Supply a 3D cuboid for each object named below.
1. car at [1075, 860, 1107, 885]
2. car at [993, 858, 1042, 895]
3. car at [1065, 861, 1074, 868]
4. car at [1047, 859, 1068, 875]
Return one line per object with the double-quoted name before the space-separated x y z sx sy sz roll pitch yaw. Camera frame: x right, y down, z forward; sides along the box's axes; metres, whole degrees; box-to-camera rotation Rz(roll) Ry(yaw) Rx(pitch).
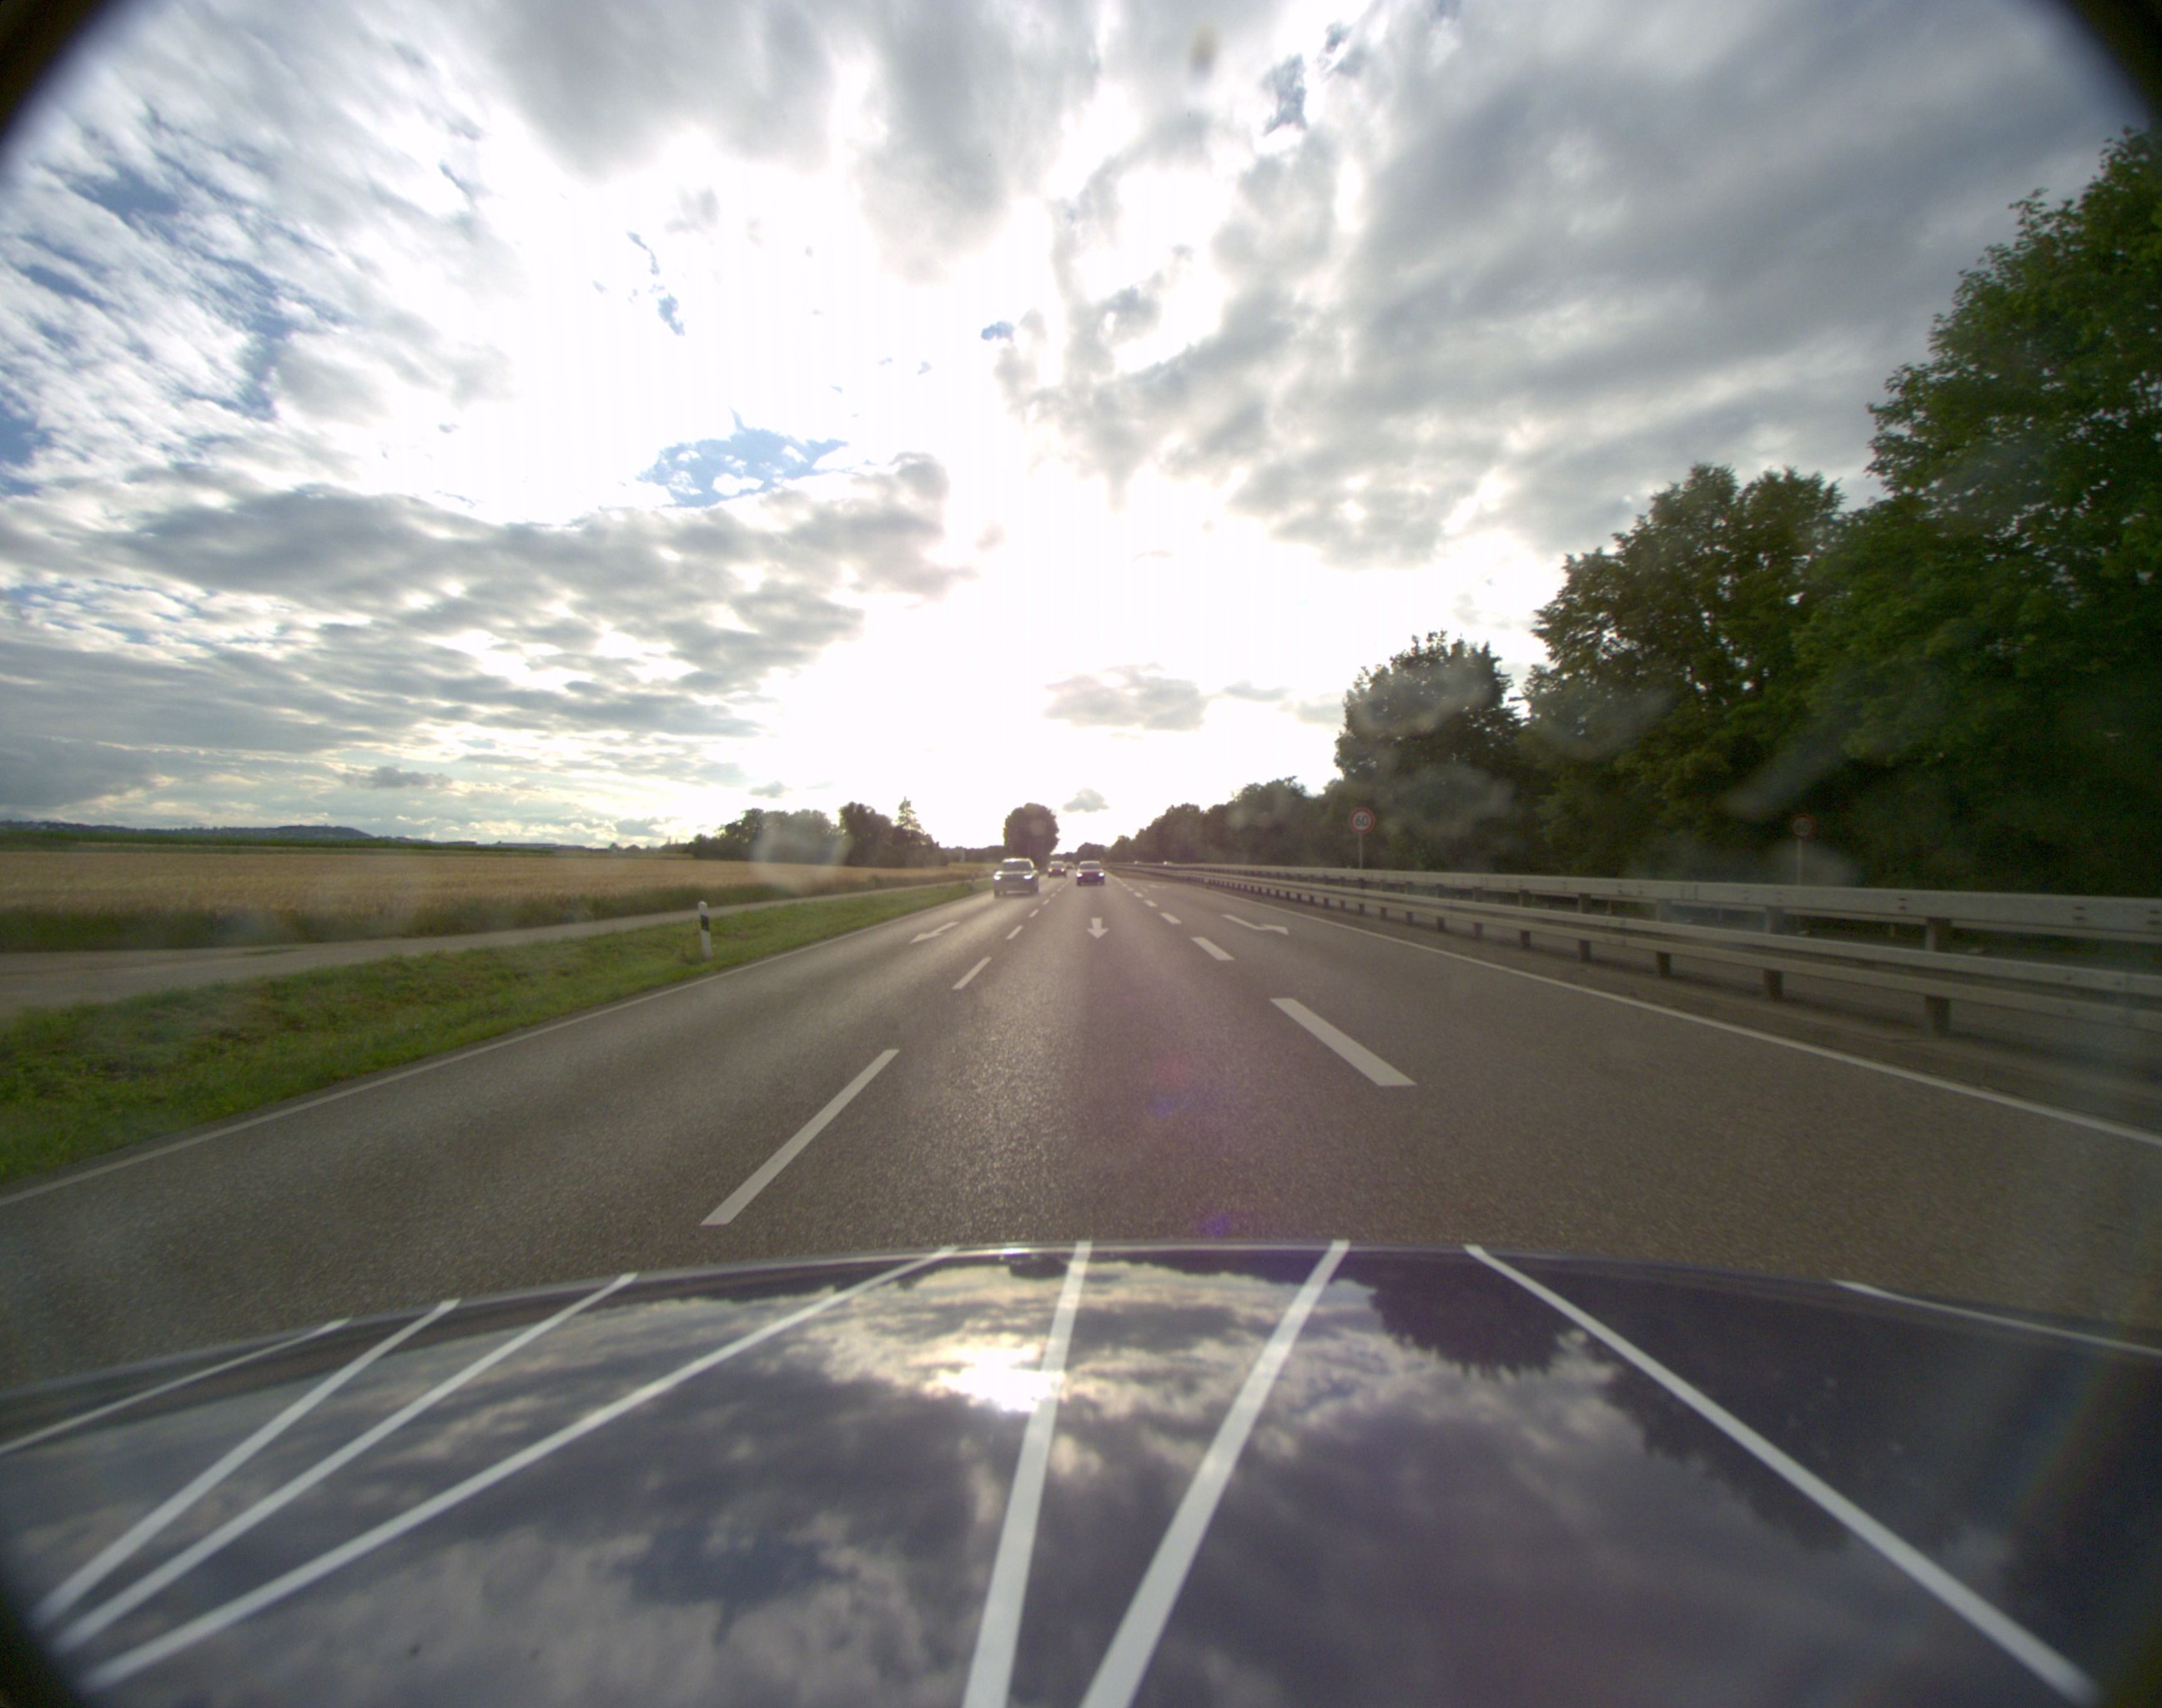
"car" 0.617 1.098 45.962 1.775 1.388 4.000 -1 0 1
"car" -2.947 1.009 35.949 1.863 1.636 4.000 -1 0 1
"car" -2.277 2.066 153.667 1.823 1.368 4.000 -1 0 -1
"car" -2.211 1.199 71.622 1.823 1.409 4.000 -1 0 0
